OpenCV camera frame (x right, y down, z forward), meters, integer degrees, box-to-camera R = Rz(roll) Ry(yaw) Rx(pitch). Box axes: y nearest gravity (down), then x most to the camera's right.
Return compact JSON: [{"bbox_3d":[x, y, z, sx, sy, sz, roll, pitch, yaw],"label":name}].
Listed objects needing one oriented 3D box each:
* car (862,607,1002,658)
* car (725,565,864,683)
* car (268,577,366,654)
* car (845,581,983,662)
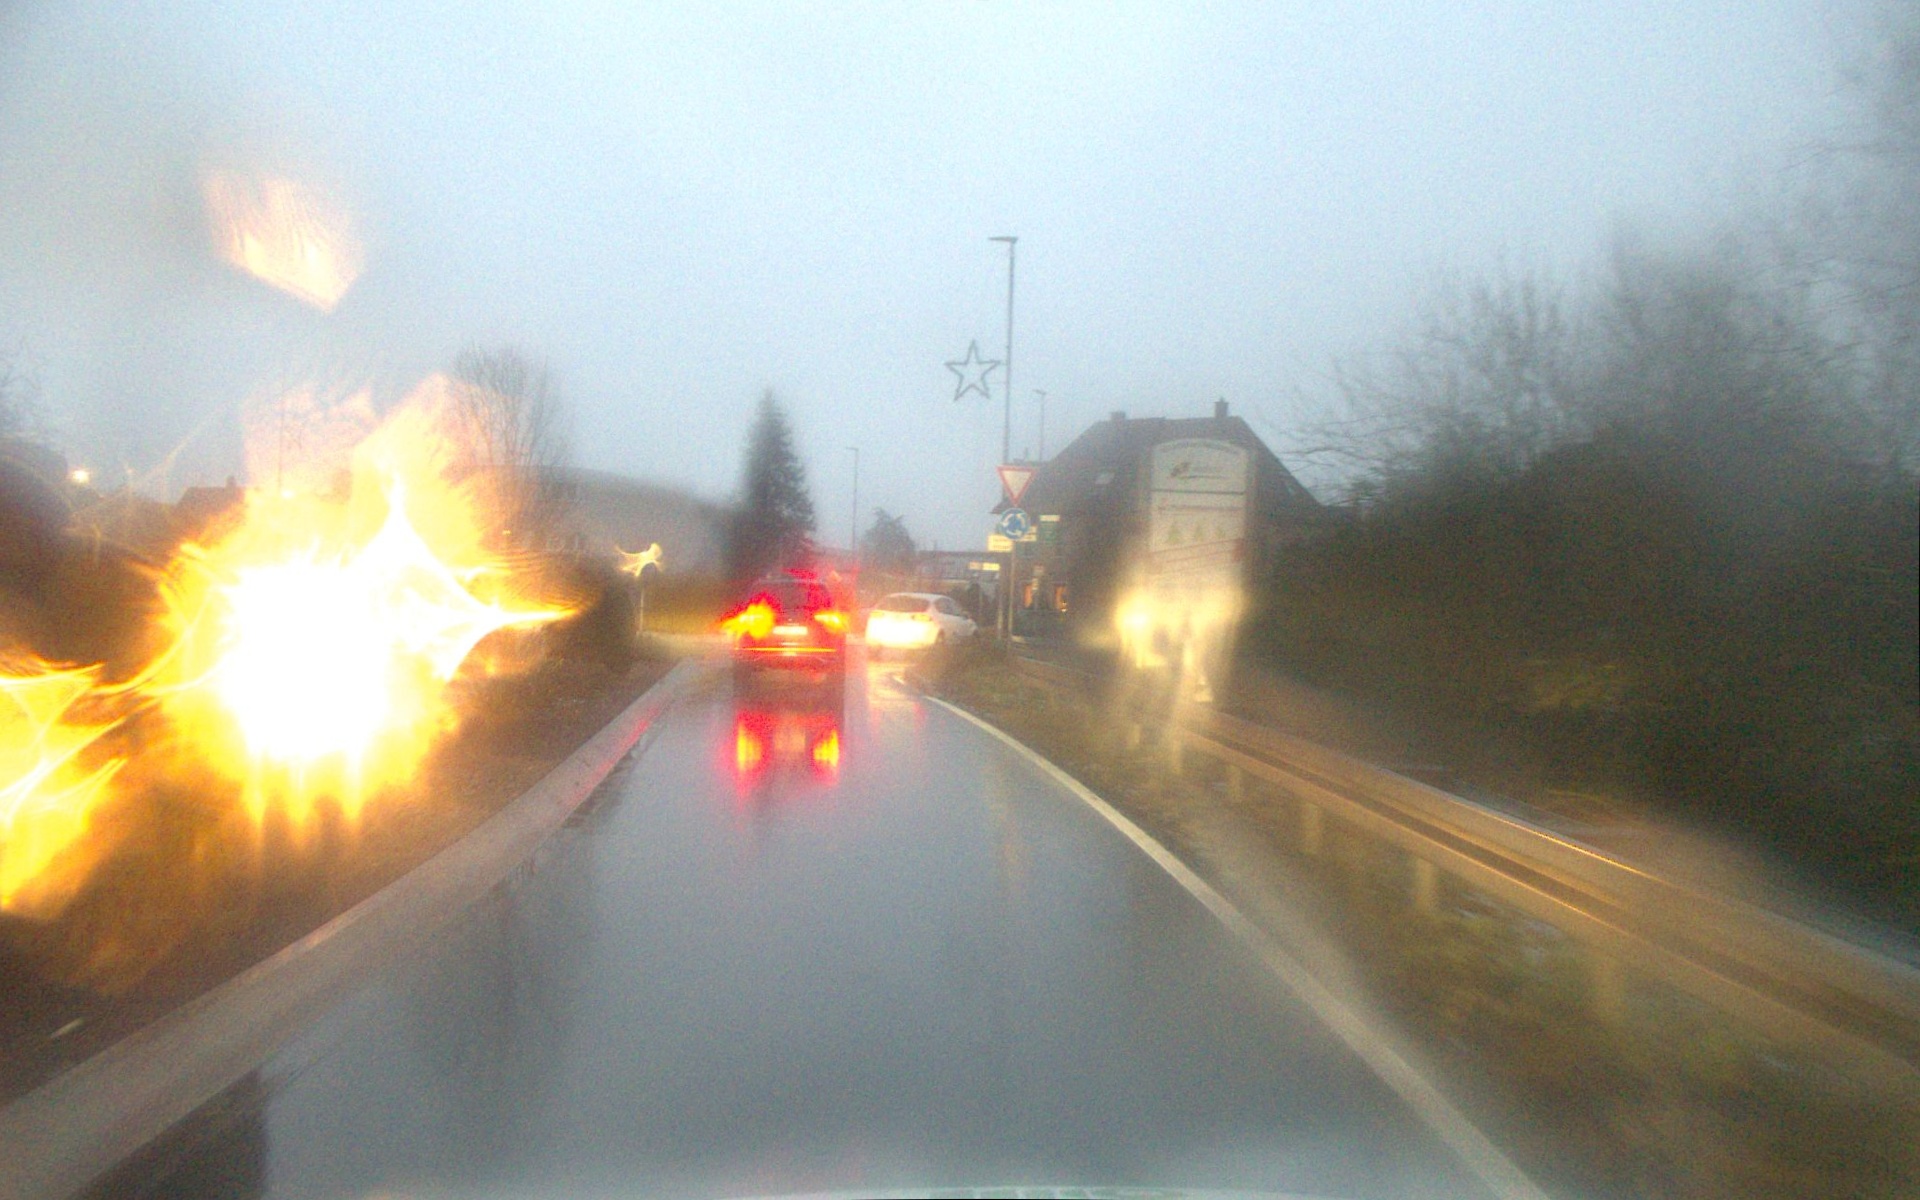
[{"bbox_3d":[-0.964,1.089,55.602,4.482,1.643,1.880,0,-2,37],"label":"car"},{"bbox_3d":[-2.807,0.365,27.268,1.909,1.748,3.990,2,0,-10],"label":"car"},{"bbox_3d":[-13.410,0.295,34.404,1.587,1.495,3.654,1,0,-26],"label":"car"},{"bbox_3d":[-1.007,0.441,39.063,2.117,1.719,4.575,2,1,13],"label":"car"}]
